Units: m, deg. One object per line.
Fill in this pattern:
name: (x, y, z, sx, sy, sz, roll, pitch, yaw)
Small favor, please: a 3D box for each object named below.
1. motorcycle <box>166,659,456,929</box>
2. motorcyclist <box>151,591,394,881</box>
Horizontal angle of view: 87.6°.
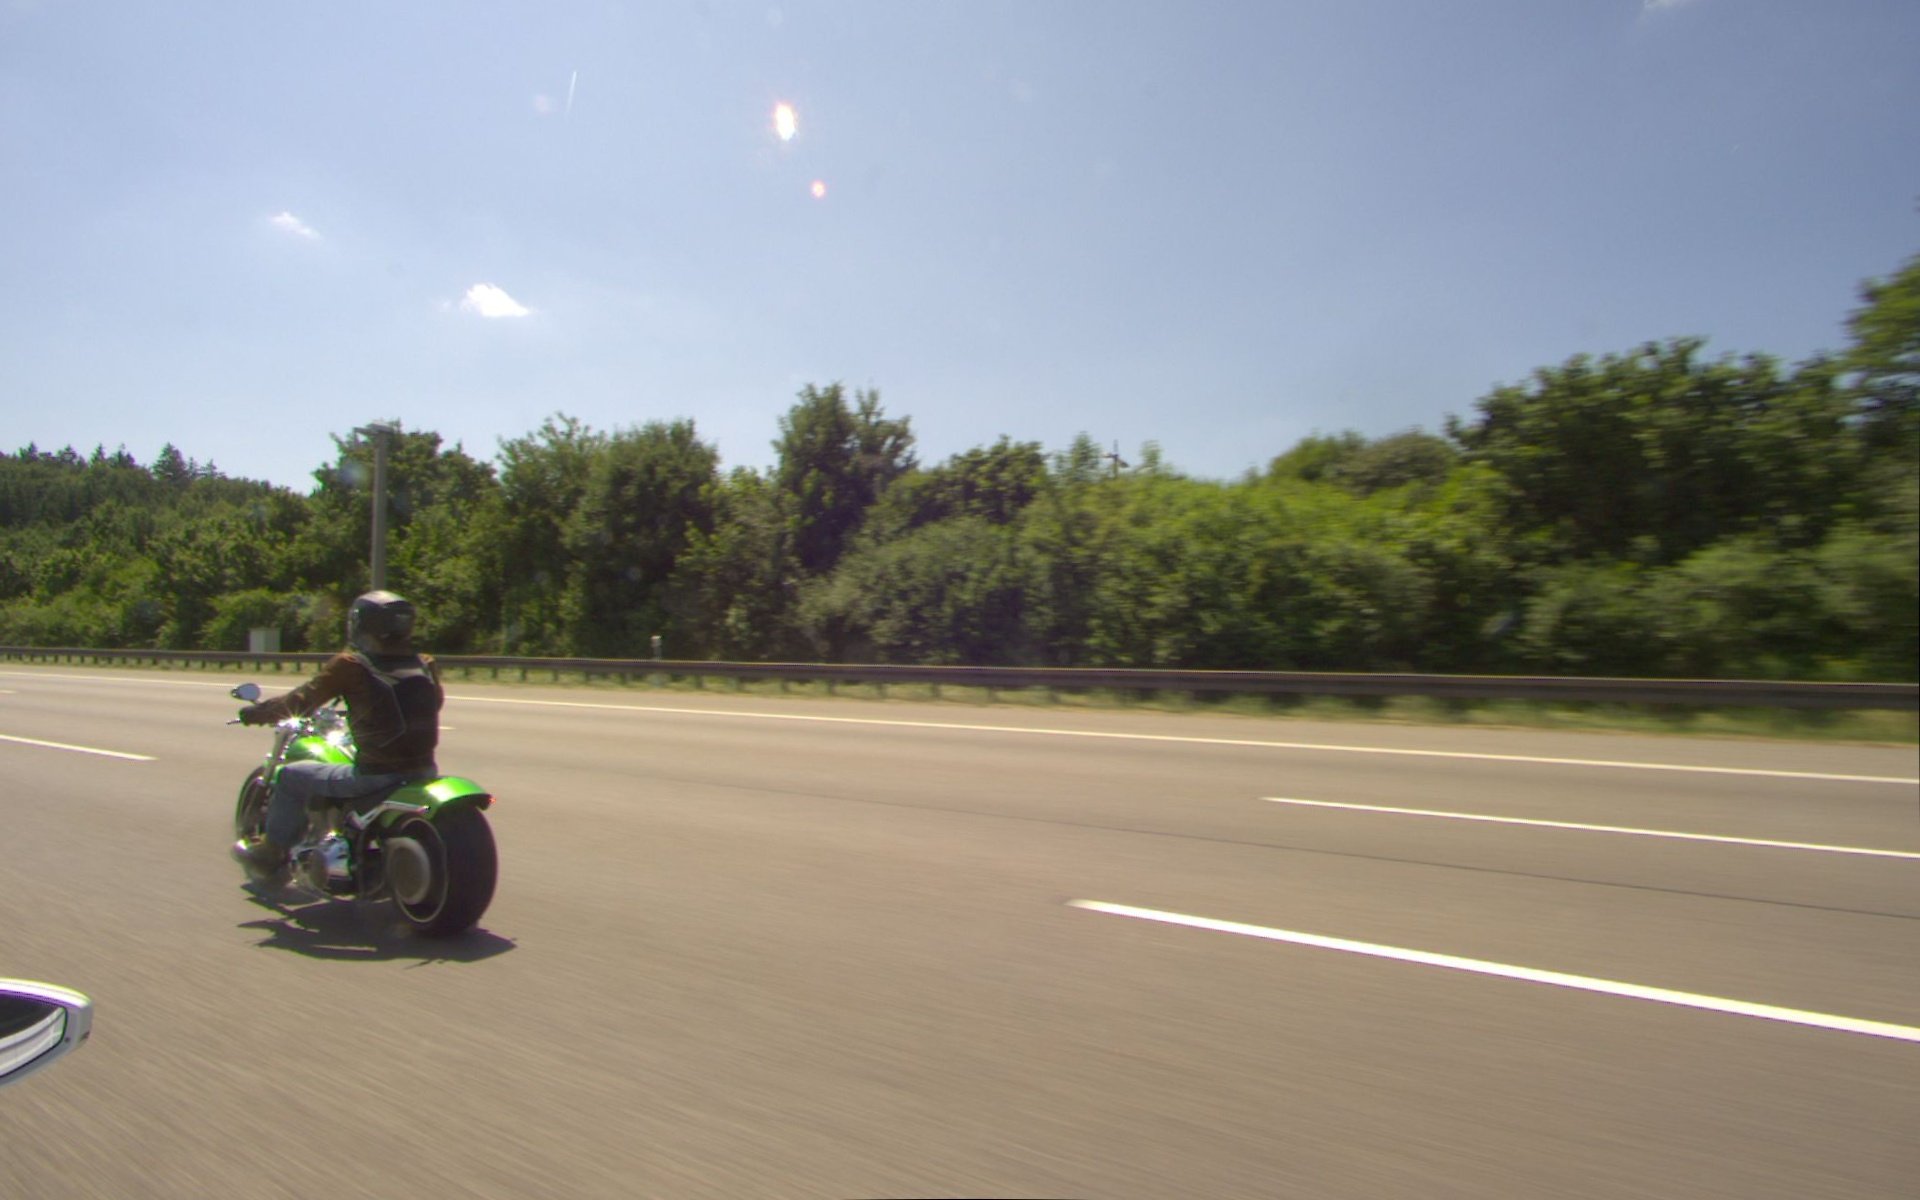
motorcycle: (-3.624, 0.935, 5.482, 2.405, 1.150, 0.534, -1, -1, 37)
motorcyclist: (-3.860, 0.689, 5.629, 1.010, 1.446, 0.850, 0, 0, 36)
